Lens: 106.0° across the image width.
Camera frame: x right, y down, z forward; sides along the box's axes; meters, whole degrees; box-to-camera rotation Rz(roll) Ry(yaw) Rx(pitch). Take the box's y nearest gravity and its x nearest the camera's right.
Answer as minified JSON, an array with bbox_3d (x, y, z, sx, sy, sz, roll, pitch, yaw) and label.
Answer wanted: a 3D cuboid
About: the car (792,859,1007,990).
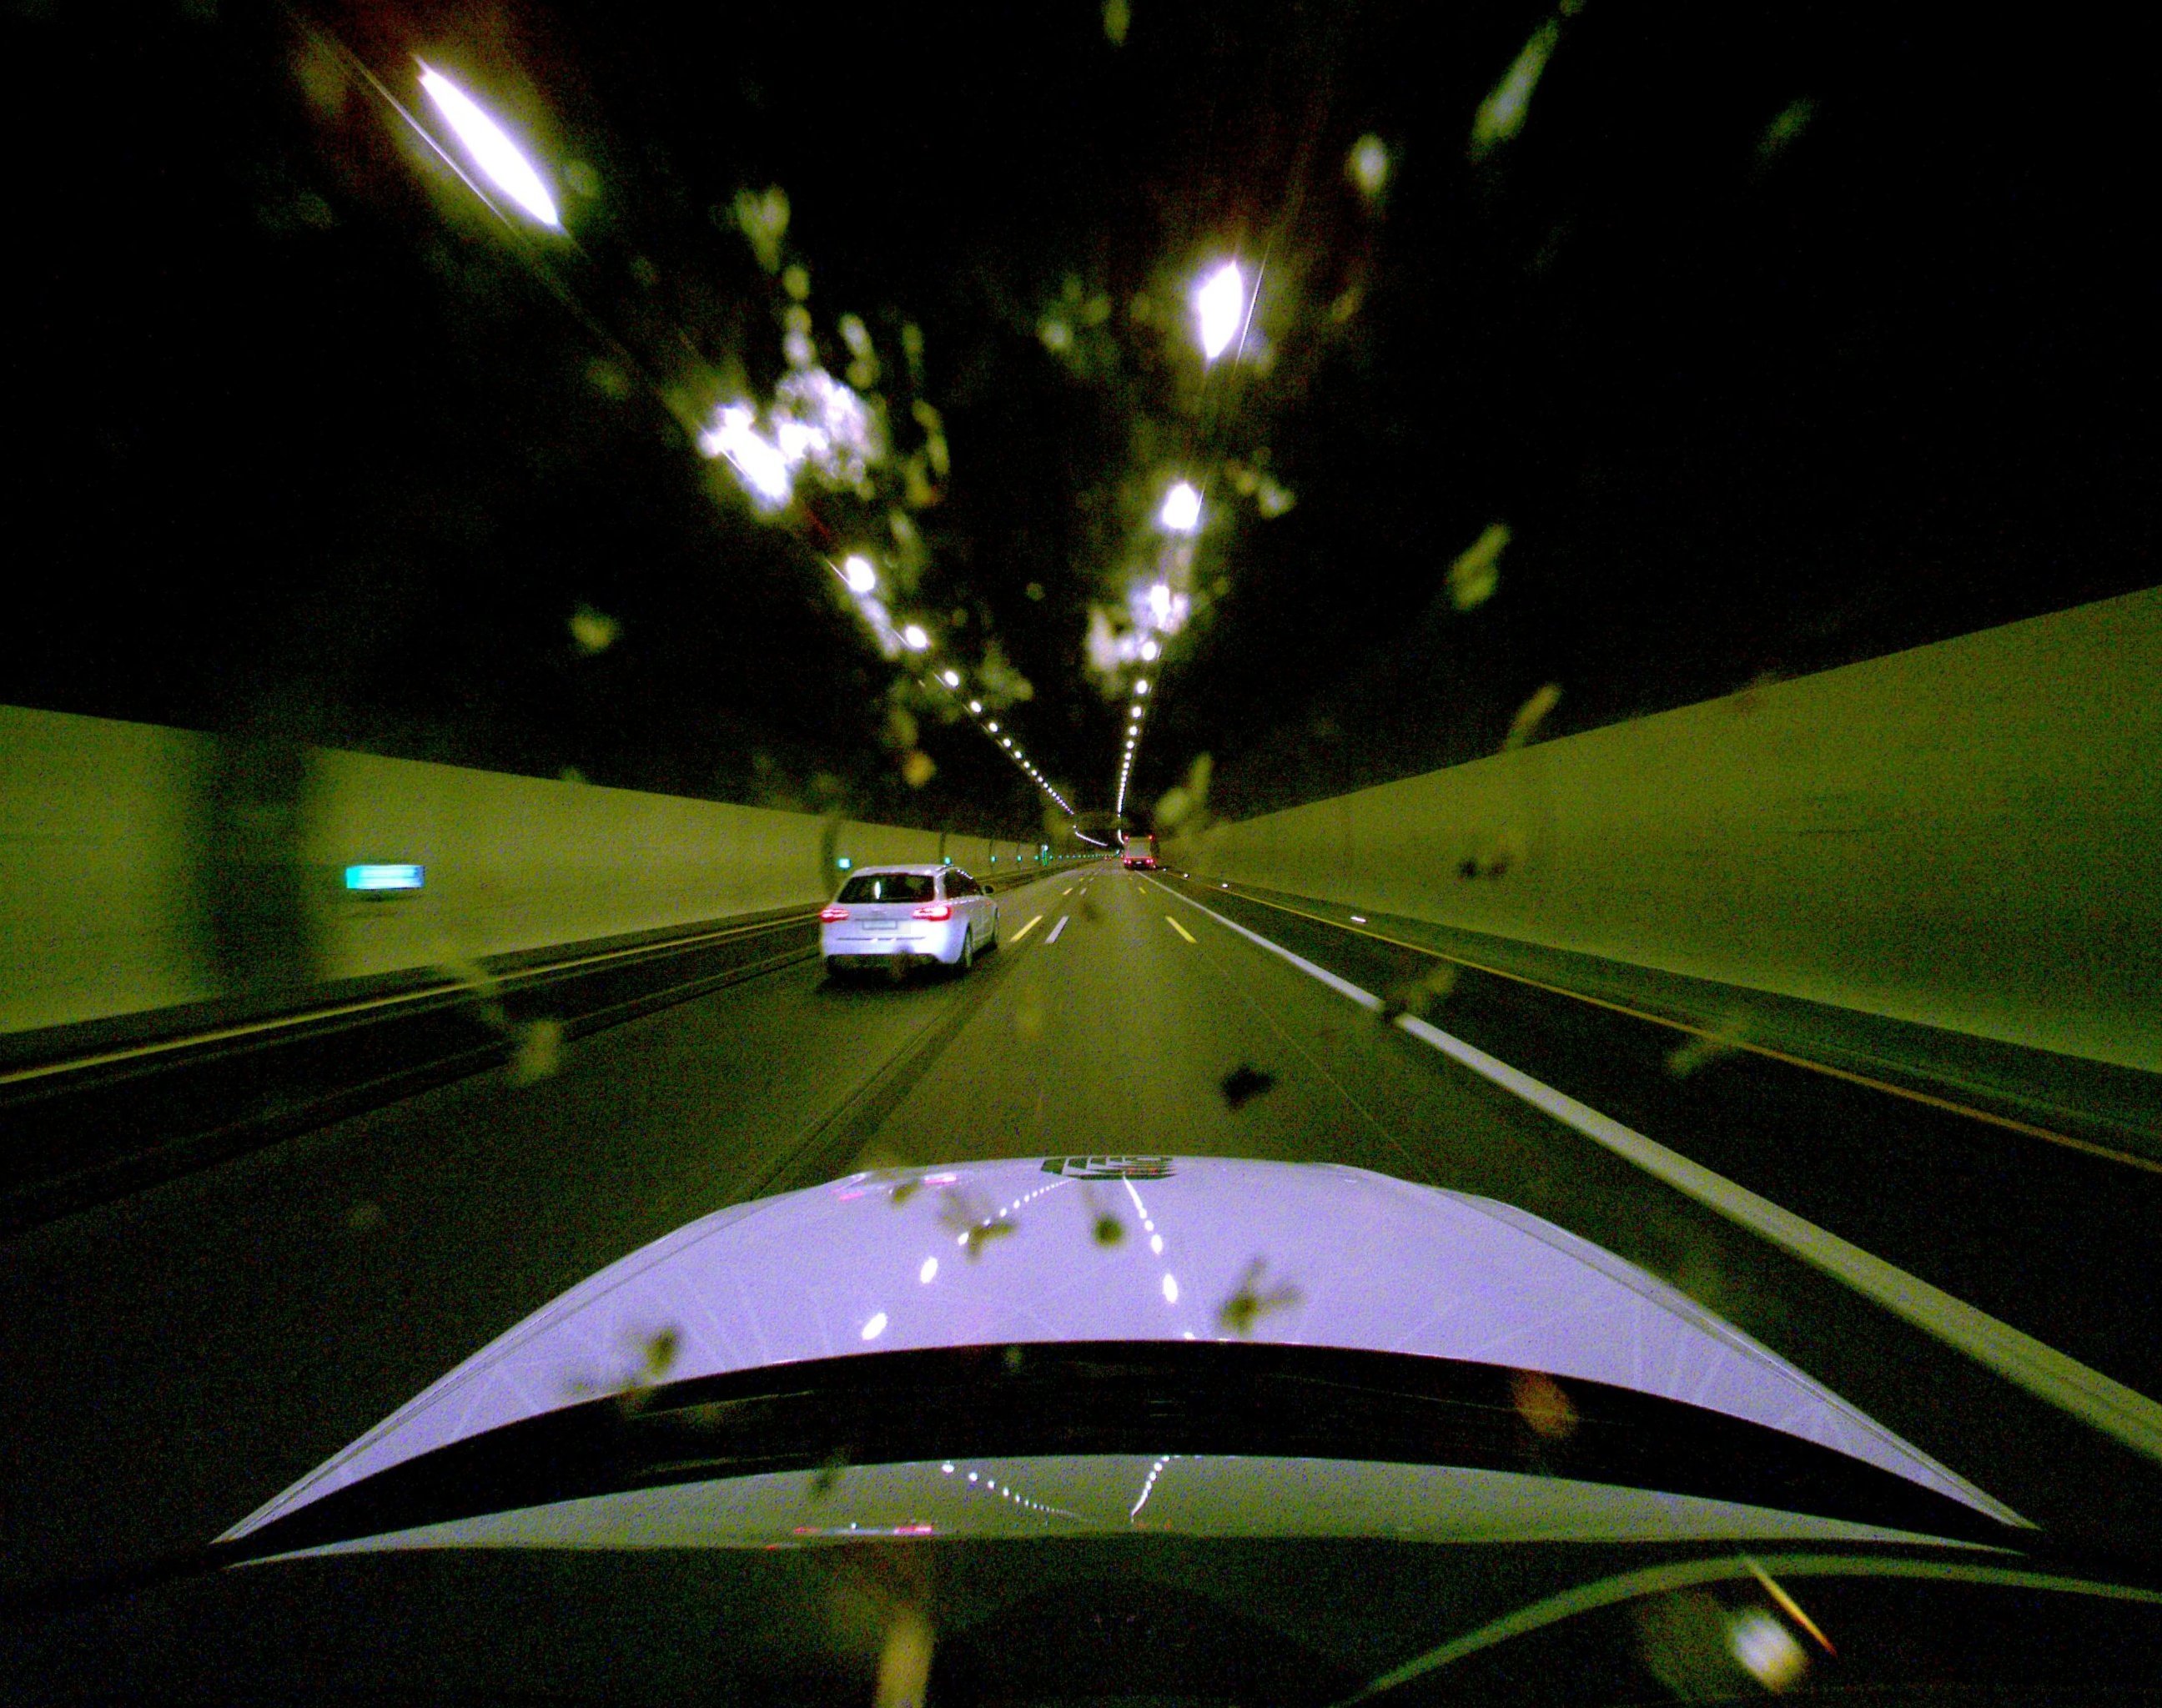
[{"bbox_3d":[-2.320,0.831,11.863,1.896,1.485,4.944,-1,0,1],"label":"car"}]

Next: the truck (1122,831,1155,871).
[{"bbox_3d":[6.102,-0.274,87.800,3.080,3.918,10.373,-3,-1,2],"label":"truck"}]

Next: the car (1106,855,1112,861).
[{"bbox_3d":[8.068,1.210,233.722,1.752,1.461,4.121,-3,0,2],"label":"car"}]

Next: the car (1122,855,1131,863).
[{"bbox_3d":[9.936,1.042,177.503,1.732,1.461,3.964,-3,0,3],"label":"car"}]
